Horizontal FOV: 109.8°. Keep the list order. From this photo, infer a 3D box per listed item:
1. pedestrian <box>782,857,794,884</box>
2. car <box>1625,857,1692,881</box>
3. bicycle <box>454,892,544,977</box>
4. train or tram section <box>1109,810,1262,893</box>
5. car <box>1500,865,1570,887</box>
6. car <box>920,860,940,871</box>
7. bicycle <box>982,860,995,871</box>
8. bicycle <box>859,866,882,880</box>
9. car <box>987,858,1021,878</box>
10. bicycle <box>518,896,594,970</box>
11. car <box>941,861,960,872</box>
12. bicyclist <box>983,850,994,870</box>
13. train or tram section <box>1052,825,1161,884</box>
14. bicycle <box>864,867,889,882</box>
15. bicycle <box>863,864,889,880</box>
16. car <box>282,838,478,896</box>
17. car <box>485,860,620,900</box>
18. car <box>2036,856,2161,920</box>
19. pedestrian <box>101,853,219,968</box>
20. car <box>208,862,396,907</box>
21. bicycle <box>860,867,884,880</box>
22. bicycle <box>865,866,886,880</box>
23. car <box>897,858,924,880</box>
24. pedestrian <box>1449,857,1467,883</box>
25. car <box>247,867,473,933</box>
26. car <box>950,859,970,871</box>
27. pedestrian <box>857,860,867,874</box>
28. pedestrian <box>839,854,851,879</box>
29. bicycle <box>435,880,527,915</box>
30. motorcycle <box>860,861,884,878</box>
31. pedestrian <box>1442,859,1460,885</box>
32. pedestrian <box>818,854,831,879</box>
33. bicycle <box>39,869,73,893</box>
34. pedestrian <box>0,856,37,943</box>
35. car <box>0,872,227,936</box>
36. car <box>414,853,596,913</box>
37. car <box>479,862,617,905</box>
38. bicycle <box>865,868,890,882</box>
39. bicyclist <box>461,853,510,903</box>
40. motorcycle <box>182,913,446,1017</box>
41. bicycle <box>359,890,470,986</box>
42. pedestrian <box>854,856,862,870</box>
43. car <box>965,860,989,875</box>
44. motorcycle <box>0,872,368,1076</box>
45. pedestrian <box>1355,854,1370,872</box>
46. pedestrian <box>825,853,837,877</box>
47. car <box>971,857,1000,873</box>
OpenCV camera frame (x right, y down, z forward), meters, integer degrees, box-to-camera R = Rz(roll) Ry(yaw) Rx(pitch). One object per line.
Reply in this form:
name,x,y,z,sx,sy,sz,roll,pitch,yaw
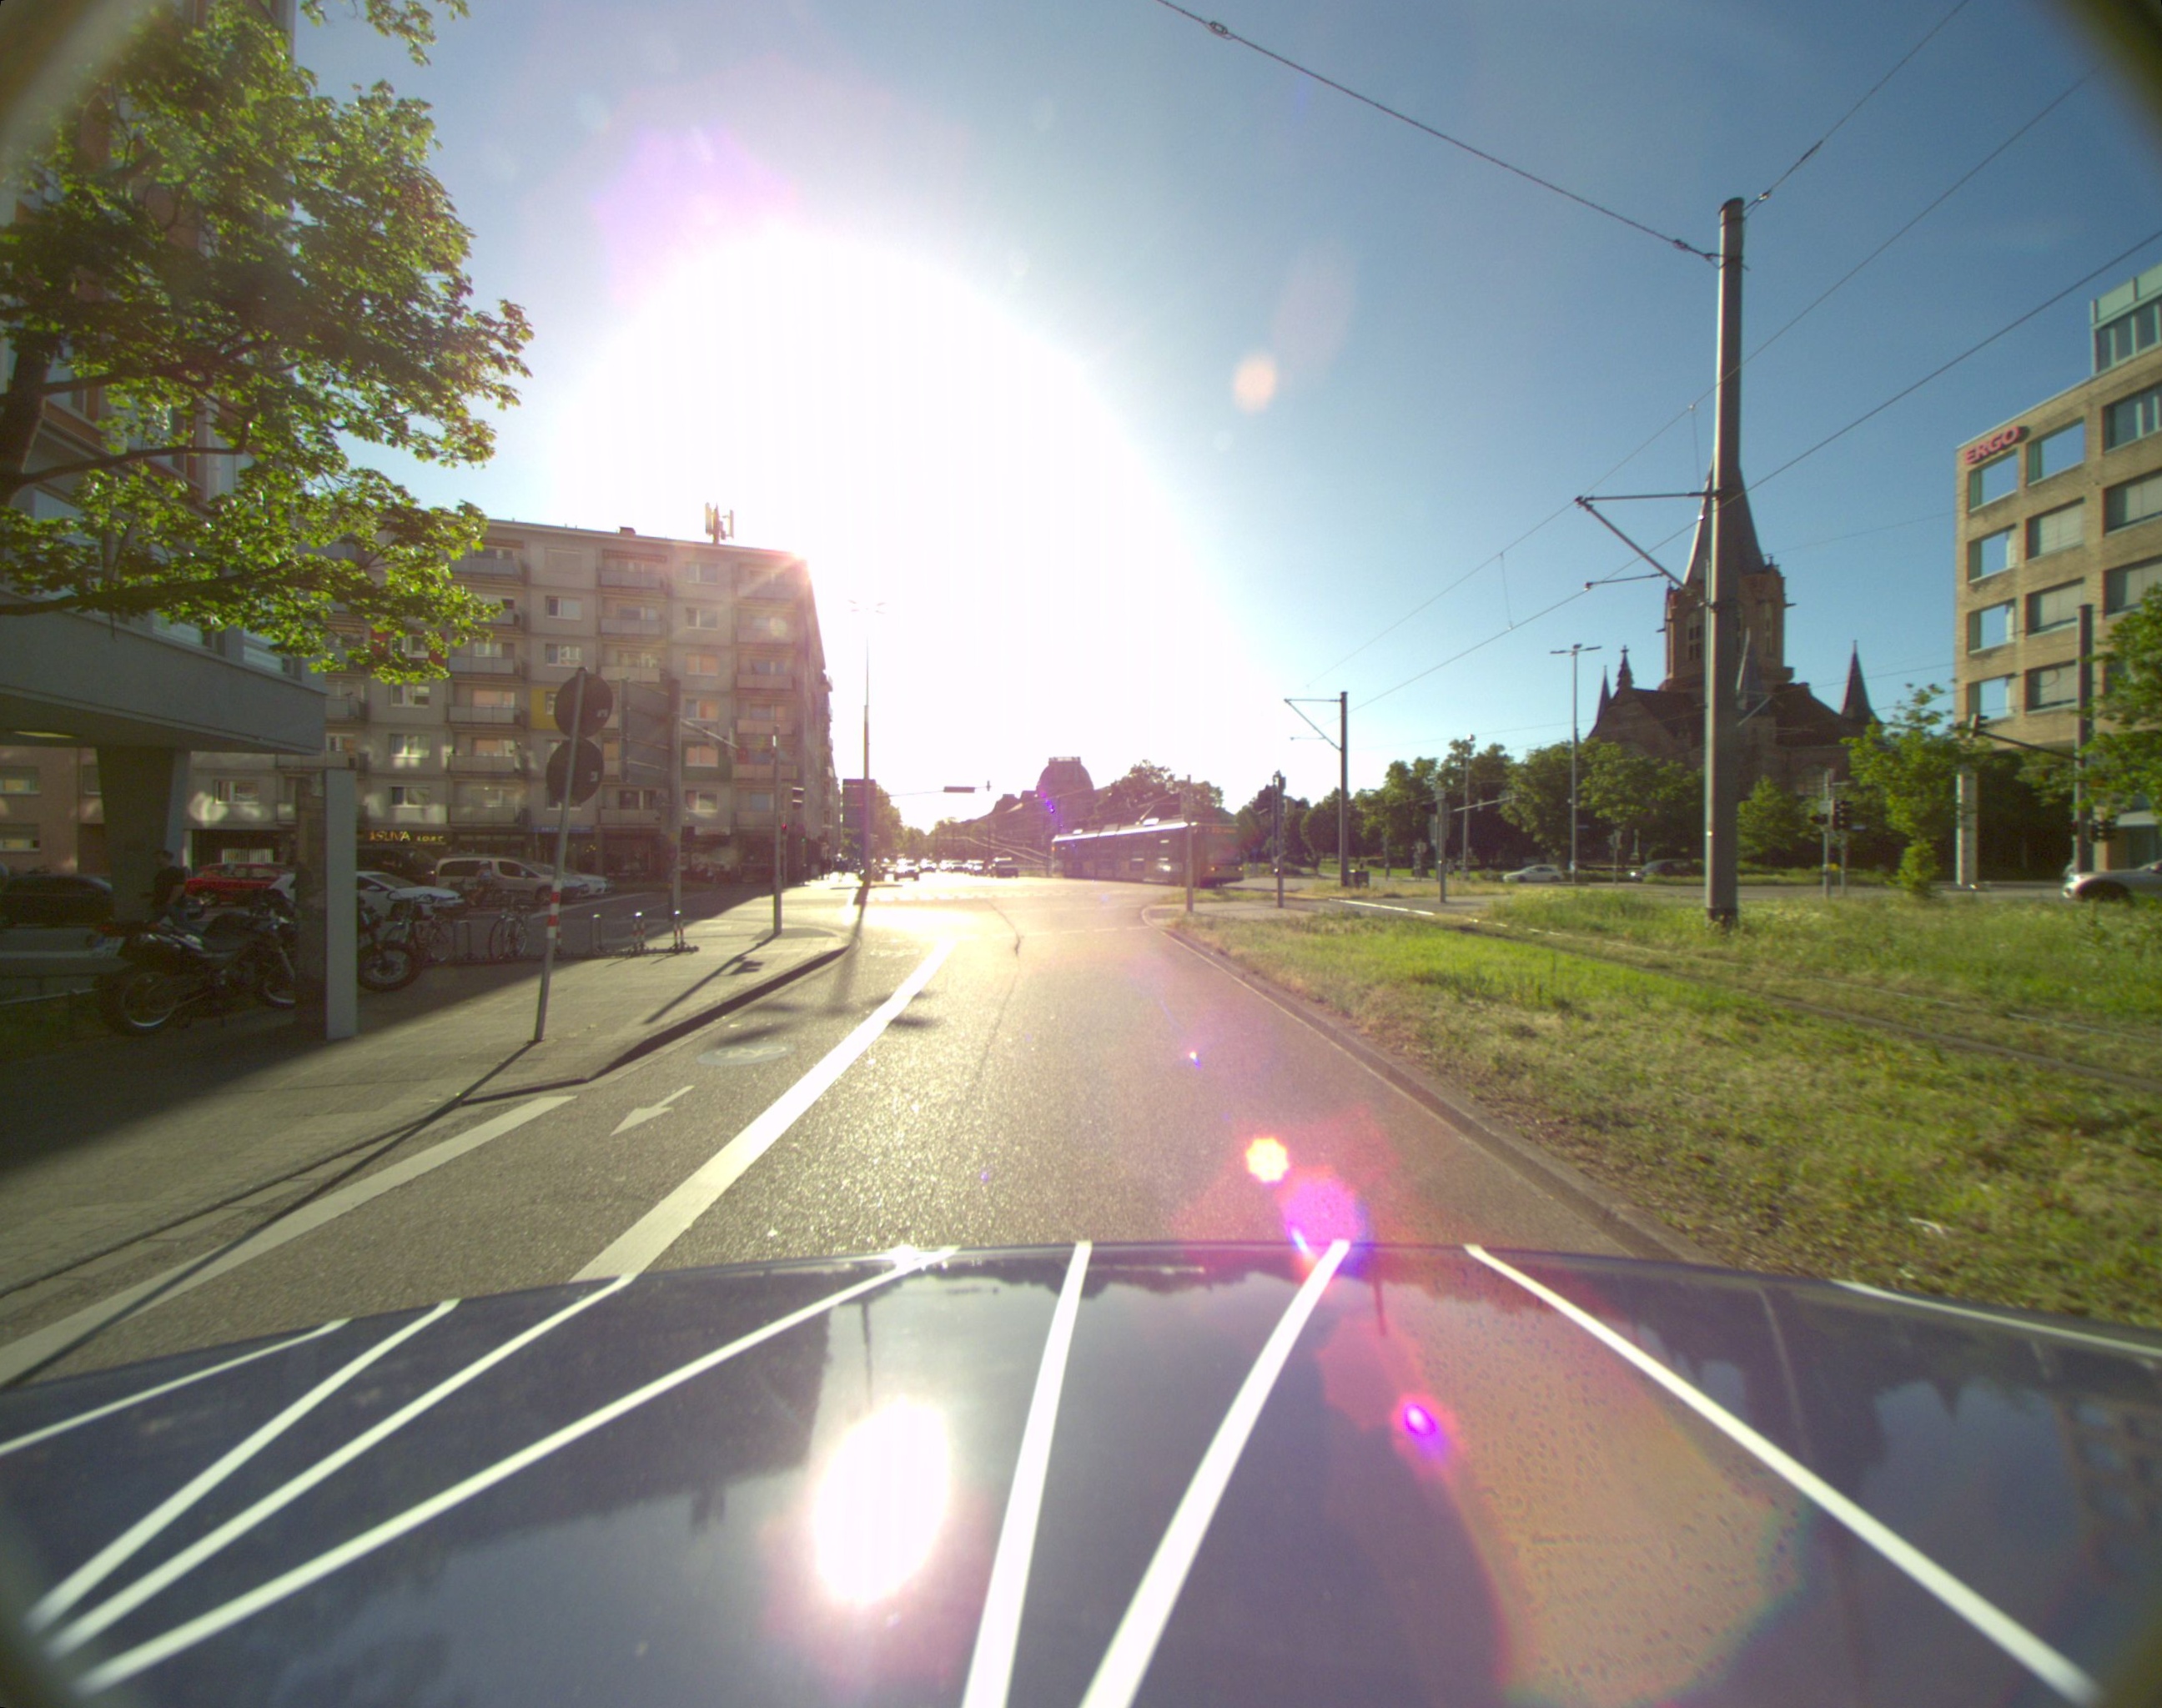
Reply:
pedestrian,-19.095,1.057,49.512,0.569,1.763,0.664,-1,0,-9
car,42.375,1.069,55.767,3.945,1.565,1.835,-2,1,-15
bicycle,-9.223,1.230,12.128,0.477,1.110,2.116,-2,1,-20
train or tram section,4.973,-0.036,40.410,2.960,3.663,13.166,-1,0,-16
car,37.545,1.804,62.938,4.710,1.565,1.769,-2,1,1
car,-18.608,1.364,93.311,1.989,1.284,4.387,-1,0,-17
bicycle,-8.291,1.059,68.197,0.632,0.934,1.902,-2,1,-22
bicycle,-17.709,1.595,63.960,1.826,1.167,0.702,0,0,-21
car,-6.497,1.149,63.637,2.001,1.528,4.350,-2,1,-17
bicycle,-8.599,1.247,12.521,0.477,0.979,2.116,-2,1,-20
car,-17.193,1.622,100.100,1.989,1.284,4.320,-1,0,-17
bicyclist,-8.304,0.553,68.167,0.704,1.720,0.852,-2,1,-22
train or tram section,1.338,0.093,52.719,2.961,3.591,13.613,-1,0,-19
bicycle,-15.111,1.486,56.086,1.757,1.093,0.398,0,1,-19
bicycle,-15.019,1.320,55.675,1.758,1.070,0.405,-2,1,-19
car,-27.842,0.500,30.407,5.257,2.186,2.375,0,0,-13
car,-22.216,1.073,32.100,4.161,1.460,1.972,-2,1,-6
car,30.385,0.905,20.659,2.108,1.724,5.078,-1,0,-18
pedestrian,-15.461,0.921,12.782,0.827,1.834,0.891,-2,1,5
car,-27.686,1.055,27.160,4.384,1.526,1.825,0,0,-13
bicycle,-17.312,1.594,62.911,1.826,1.054,0.414,0,0,-21
bicycle,-14.572,1.351,53.942,1.435,1.005,0.410,1,0,-15
car,-14.013,1.201,62.203,1.904,1.677,4.112,-1,0,-16
pedestrian,29.836,1.288,60.185,0.879,2.002,0.924,-2,1,-16
car,-20.150,1.238,21.487,4.166,1.494,1.842,-2,3,-18
car,-14.520,1.297,90.868,1.861,1.284,4.089,-1,0,-17
pedestrian,-28.675,1.688,99.494,0.868,1.872,1.220,-1,0,-33
pedestrian,-16.903,0.888,54.492,0.792,1.766,0.873,-1,0,-17
bicycle,-19.364,1.387,24.582,2.150,0.995,0.859,-2,1,-18
motorcycle,-18.173,1.364,65.934,1.887,1.421,0.887,2,0,-21
pedestrian,29.302,1.392,60.139,0.879,2.002,0.924,-2,1,-16
pedestrian,-19.226,0.917,57.044,0.867,1.824,1.209,-1,0,-17
bicycle,-50.334,1.307,37.340,1.914,0.987,0.688,5,6,44
pedestrian,-22.390,0.936,15.639,0.859,1.768,0.897,-3,2,-44
car,-25.583,1.266,19.779,4.167,1.419,1.574,-1,2,-19
car,-19.977,0.941,26.592,4.605,1.840,1.944,-2,1,-17
car,-20.856,1.113,29.923,4.003,1.432,1.846,-2,1,-18
bicycle,-14.736,1.515,55.005,1.706,1.005,0.410,1,0,-20
bicyclist,-19.258,0.767,24.608,0.936,1.551,0.940,-2,1,-19
motorcycle,-9.103,1.292,9.132,2.104,1.016,0.761,-2,0,-16
bicycle,-10.075,1.217,11.568,0.534,1.237,1.844,-2,1,-18
pedestrian,-27.303,1.100,93.167,0.773,1.641,0.671,-1,0,-5
car,-11.182,1.446,81.431,1.894,1.421,4.126,-2,0,-17
motorcycle,-8.262,0.972,7.273,0.805,1.530,2.543,-2,0,-10
pedestrian,27.976,0.890,75.556,0.846,1.836,1.113,-2,1,-19
pedestrian,-19.665,0.886,59.769,0.792,1.875,0.874,-1,0,-10
car,-9.301,1.041,73.678,2.001,1.421,4.126,-2,1,-17
